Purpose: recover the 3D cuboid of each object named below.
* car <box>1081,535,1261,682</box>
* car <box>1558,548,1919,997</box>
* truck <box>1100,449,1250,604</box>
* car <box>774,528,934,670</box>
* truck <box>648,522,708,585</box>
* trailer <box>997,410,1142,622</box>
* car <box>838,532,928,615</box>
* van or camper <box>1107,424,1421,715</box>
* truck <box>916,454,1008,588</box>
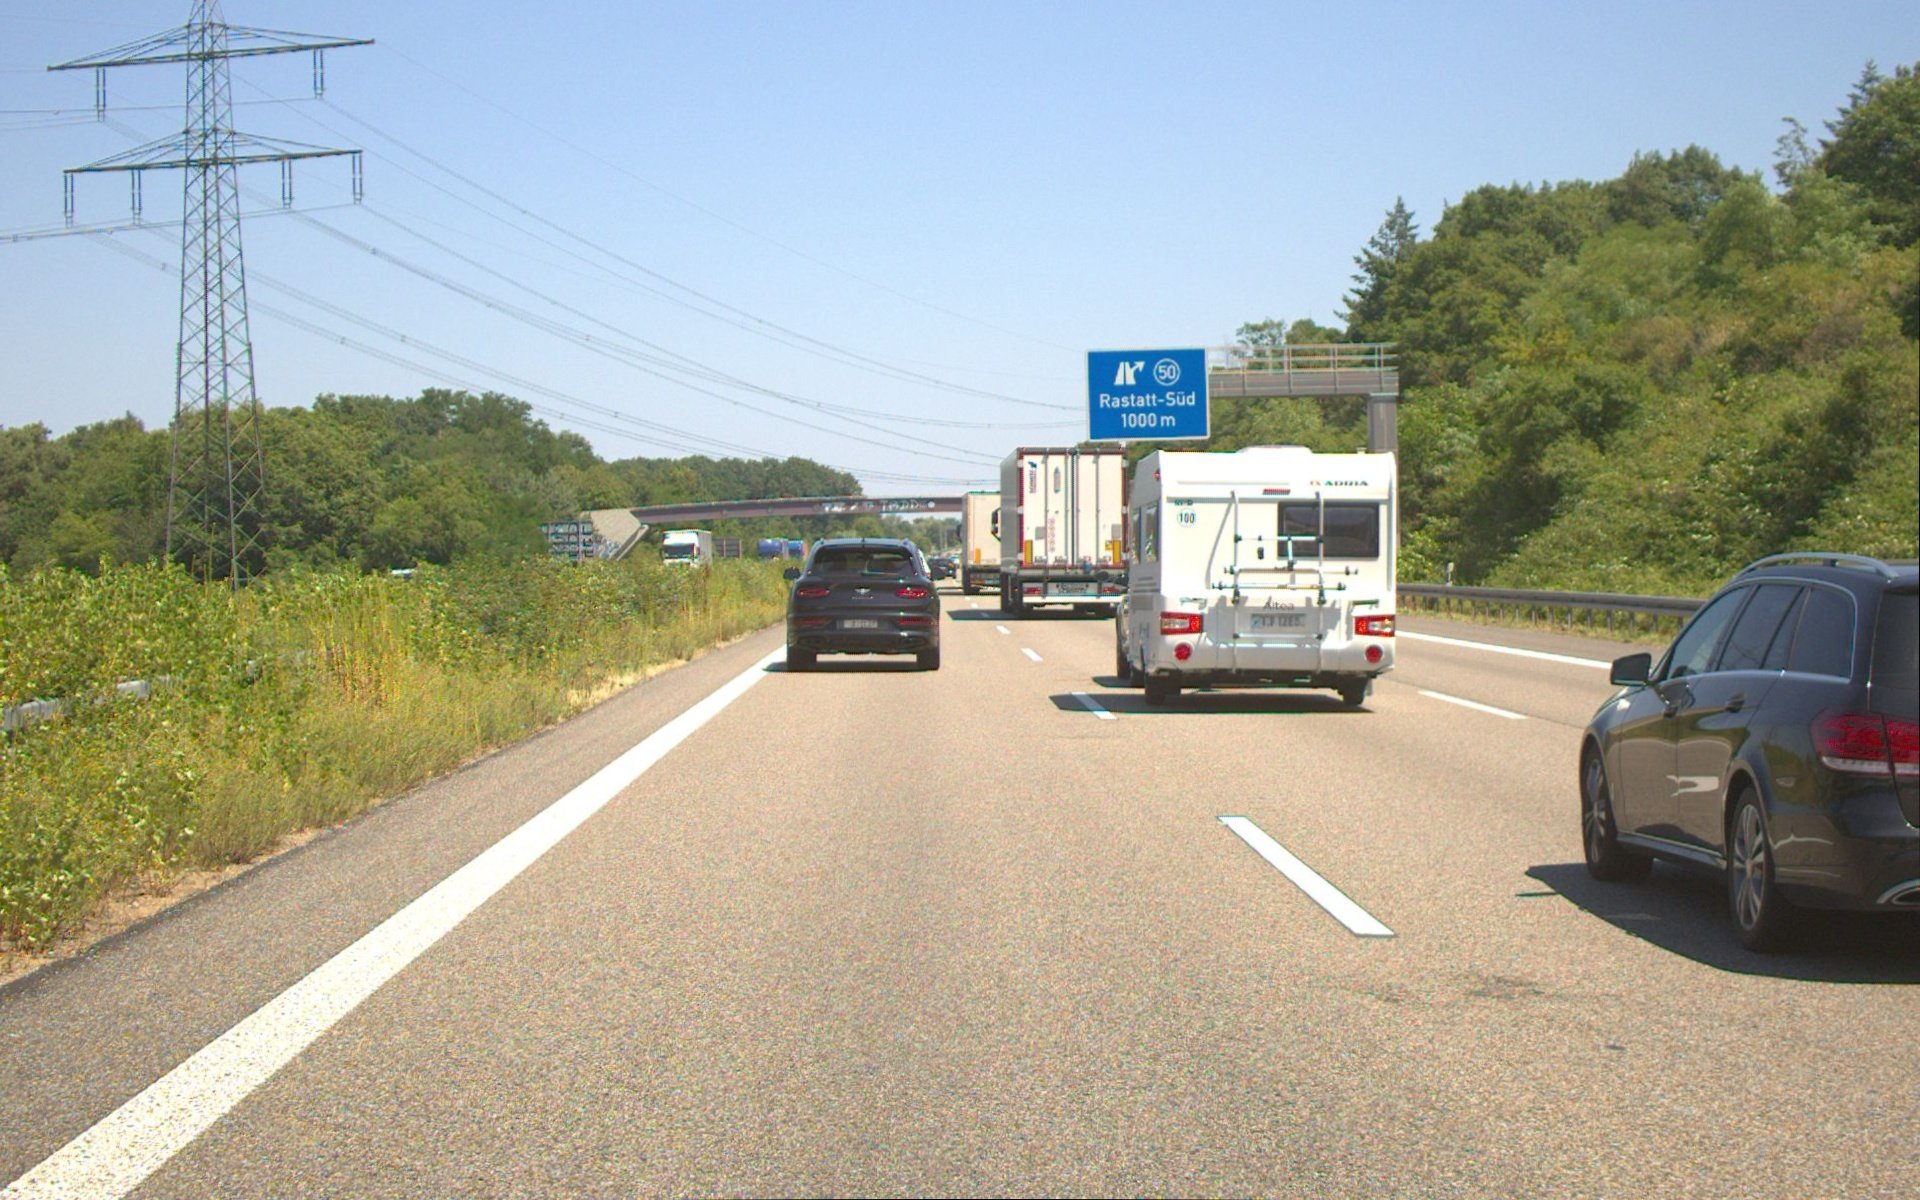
[{"bbox_3d":[2.424,0.057,40.567,1.879,1.607,4.702,-1,1,1],"label":"car"},{"bbox_3d":[3.786,0.548,13.992,1.841,1.500,4.738,0,1,0],"label":"car"},{"bbox_3d":[6.195,-2.090,101.172,3.571,4.230,11.652,1,0,0],"label":"truck"},{"bbox_3d":[-1.391,-0.052,45.507,1.993,1.766,4.000,-1,1,-1],"label":"car"},{"bbox_3d":[-20.581,-3.402,251.077,3.368,4.393,6.556,-3,1,2],"label":"truck"},{"bbox_3d":[2.597,-2.005,85.687,3.087,4.868,12.258,1,0,0],"label":"trailer"},{"bbox_3d":[-1.754,-0.629,78.142,1.961,1.808,4.449,-1,1,-1],"label":"car"},{"bbox_3d":[2.961,-0.342,35.048,2.439,2.665,6.350,-1,1,-2],"label":"van or camper"},{"bbox_3d":[0.026,-3.102,137.209,3.512,5.149,10.259,0,1,0],"label":"truck"}]
